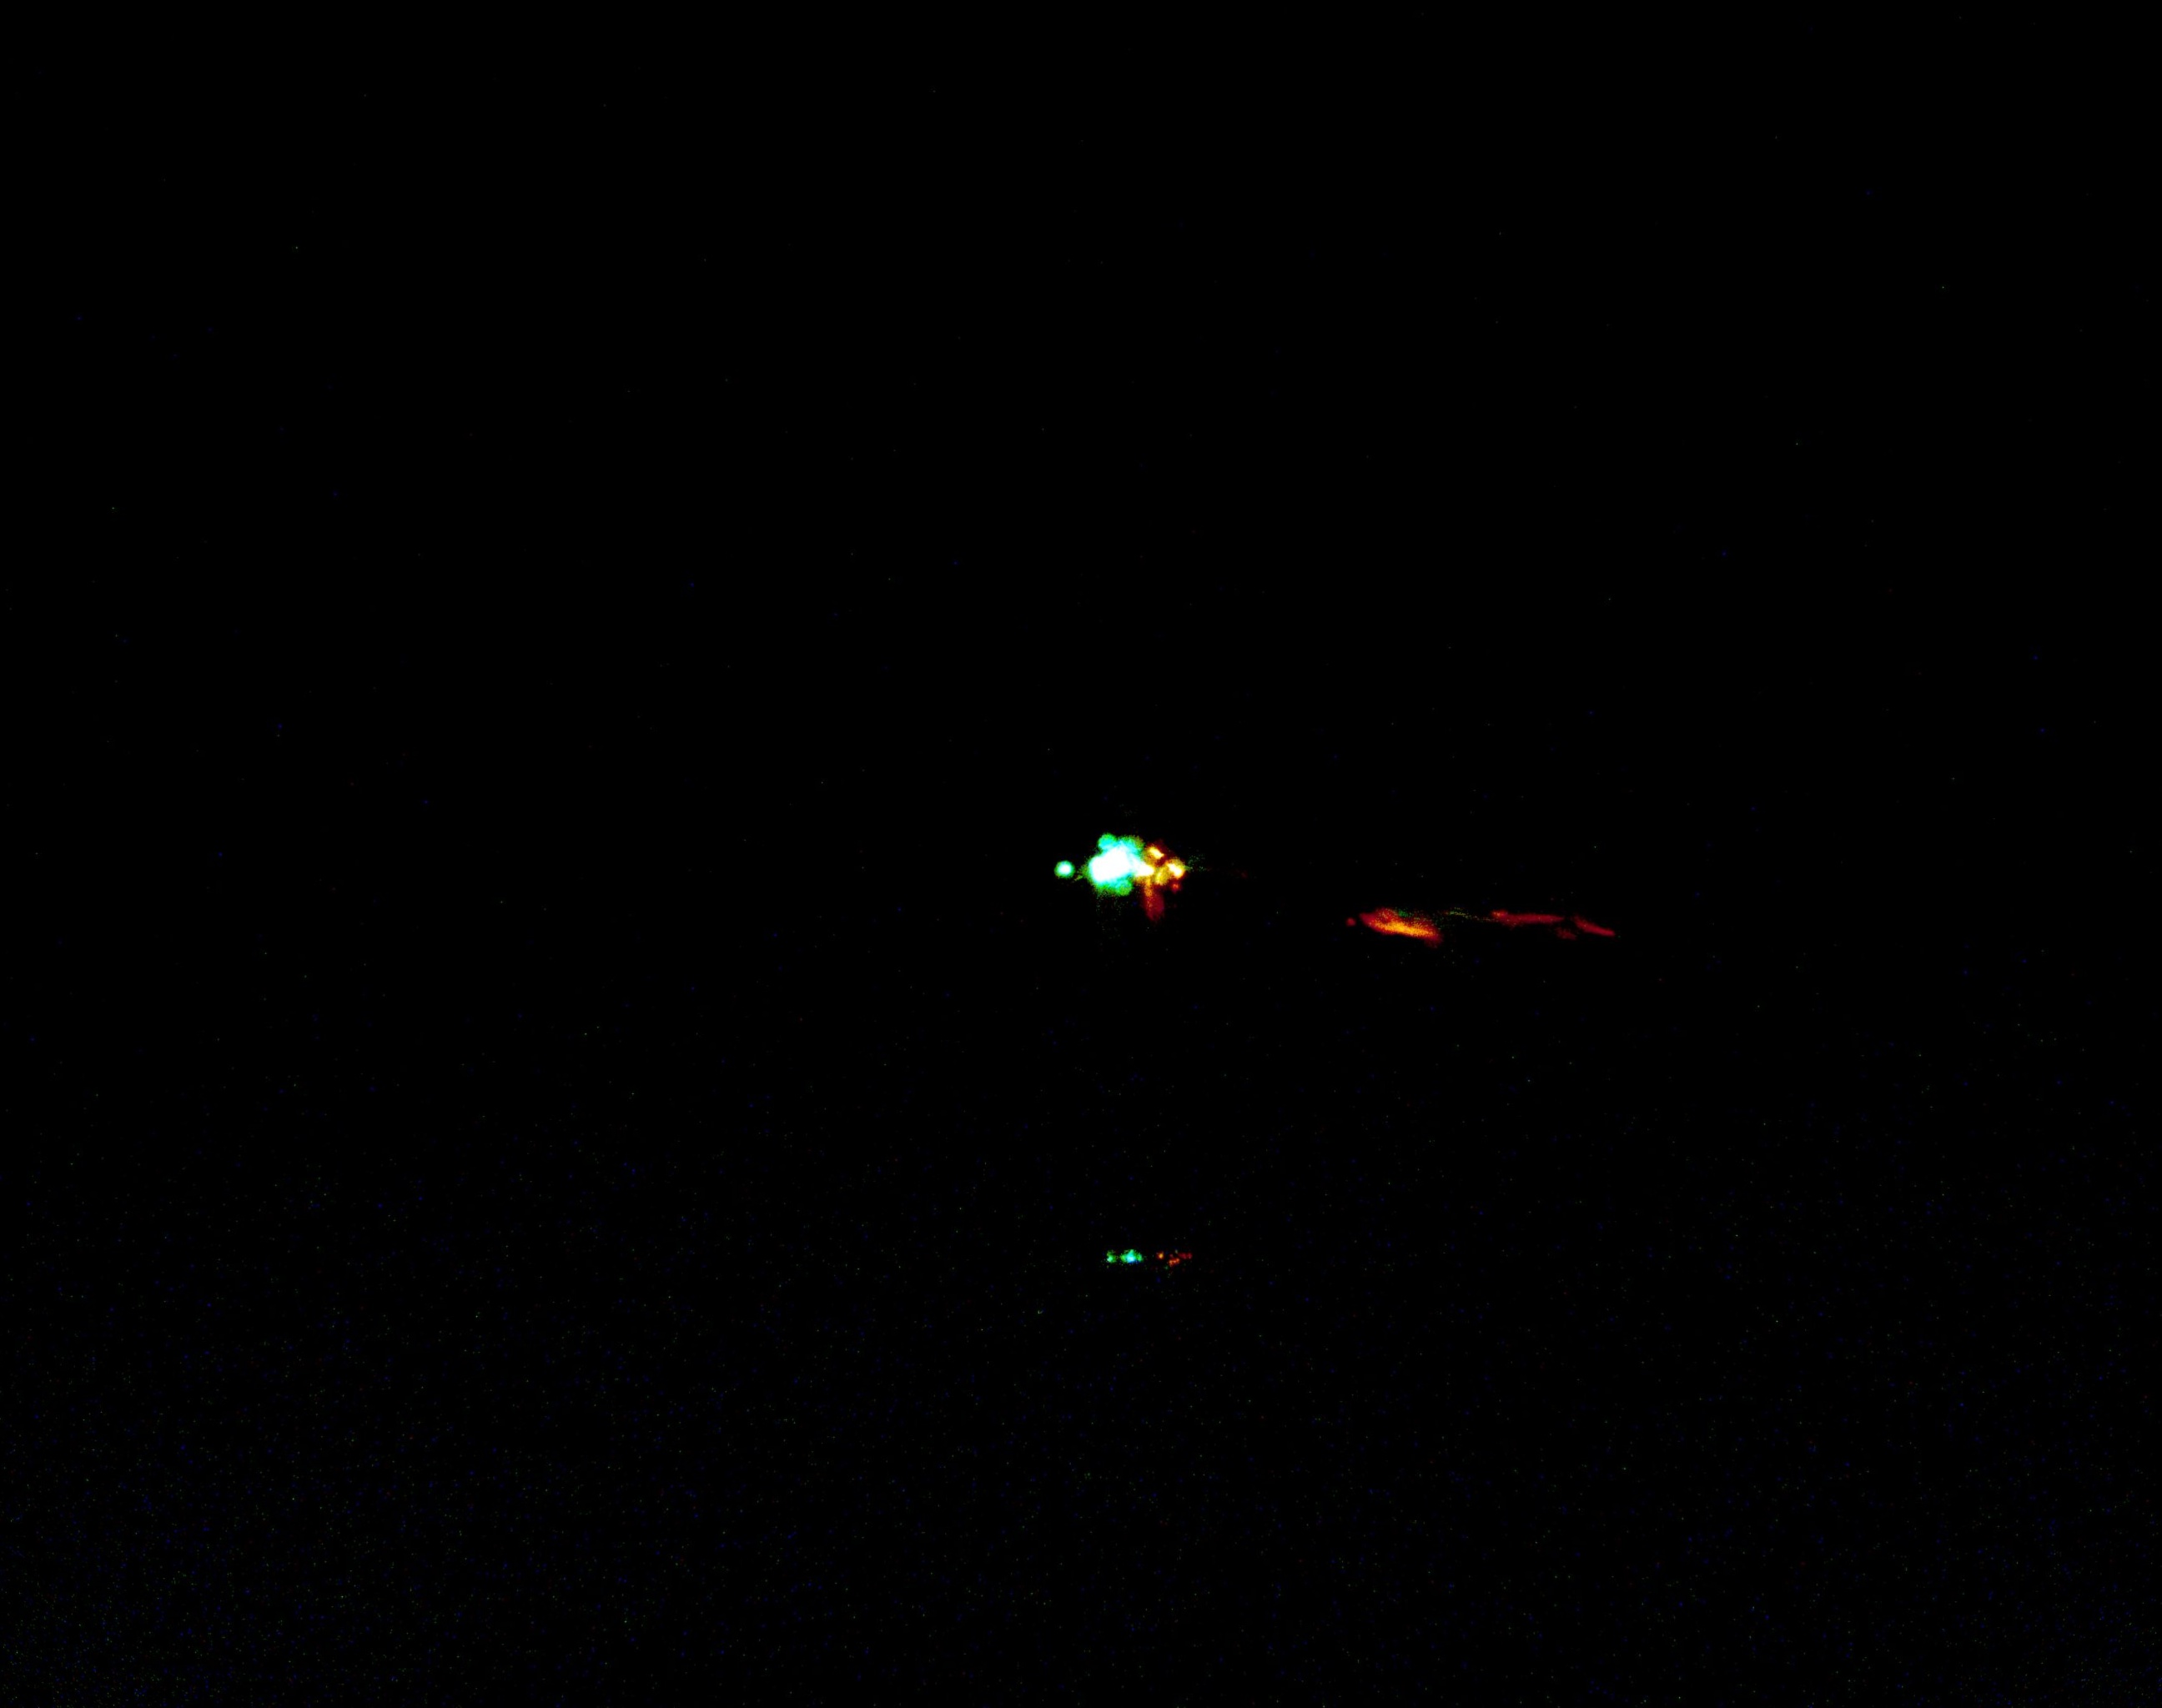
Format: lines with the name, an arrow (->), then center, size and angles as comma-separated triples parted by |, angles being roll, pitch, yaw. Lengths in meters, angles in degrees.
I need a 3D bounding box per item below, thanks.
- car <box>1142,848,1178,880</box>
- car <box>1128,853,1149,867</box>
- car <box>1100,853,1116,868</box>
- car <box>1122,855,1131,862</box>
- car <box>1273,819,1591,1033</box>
car -> 4.658, 0.561, 45.169 | 1.747, 1.749, 3.878 | -2, 0, 1
car -> 5.857, 0.602, 77.941 | 1.998, 1.385, 4.596 | -2, 0, 4
car -> 3.289, 0.771, 91.536 | 1.746, 1.623, 3.737 | -2, 0, 4
car -> 10.215, 1.012, 171.835 | 1.747, 1.623, 3.735 | -2, 0, 0
car -> 3.575, 0.632, 8.607 | 1.747, 1.812, 3.877 | -2, 0, 0
